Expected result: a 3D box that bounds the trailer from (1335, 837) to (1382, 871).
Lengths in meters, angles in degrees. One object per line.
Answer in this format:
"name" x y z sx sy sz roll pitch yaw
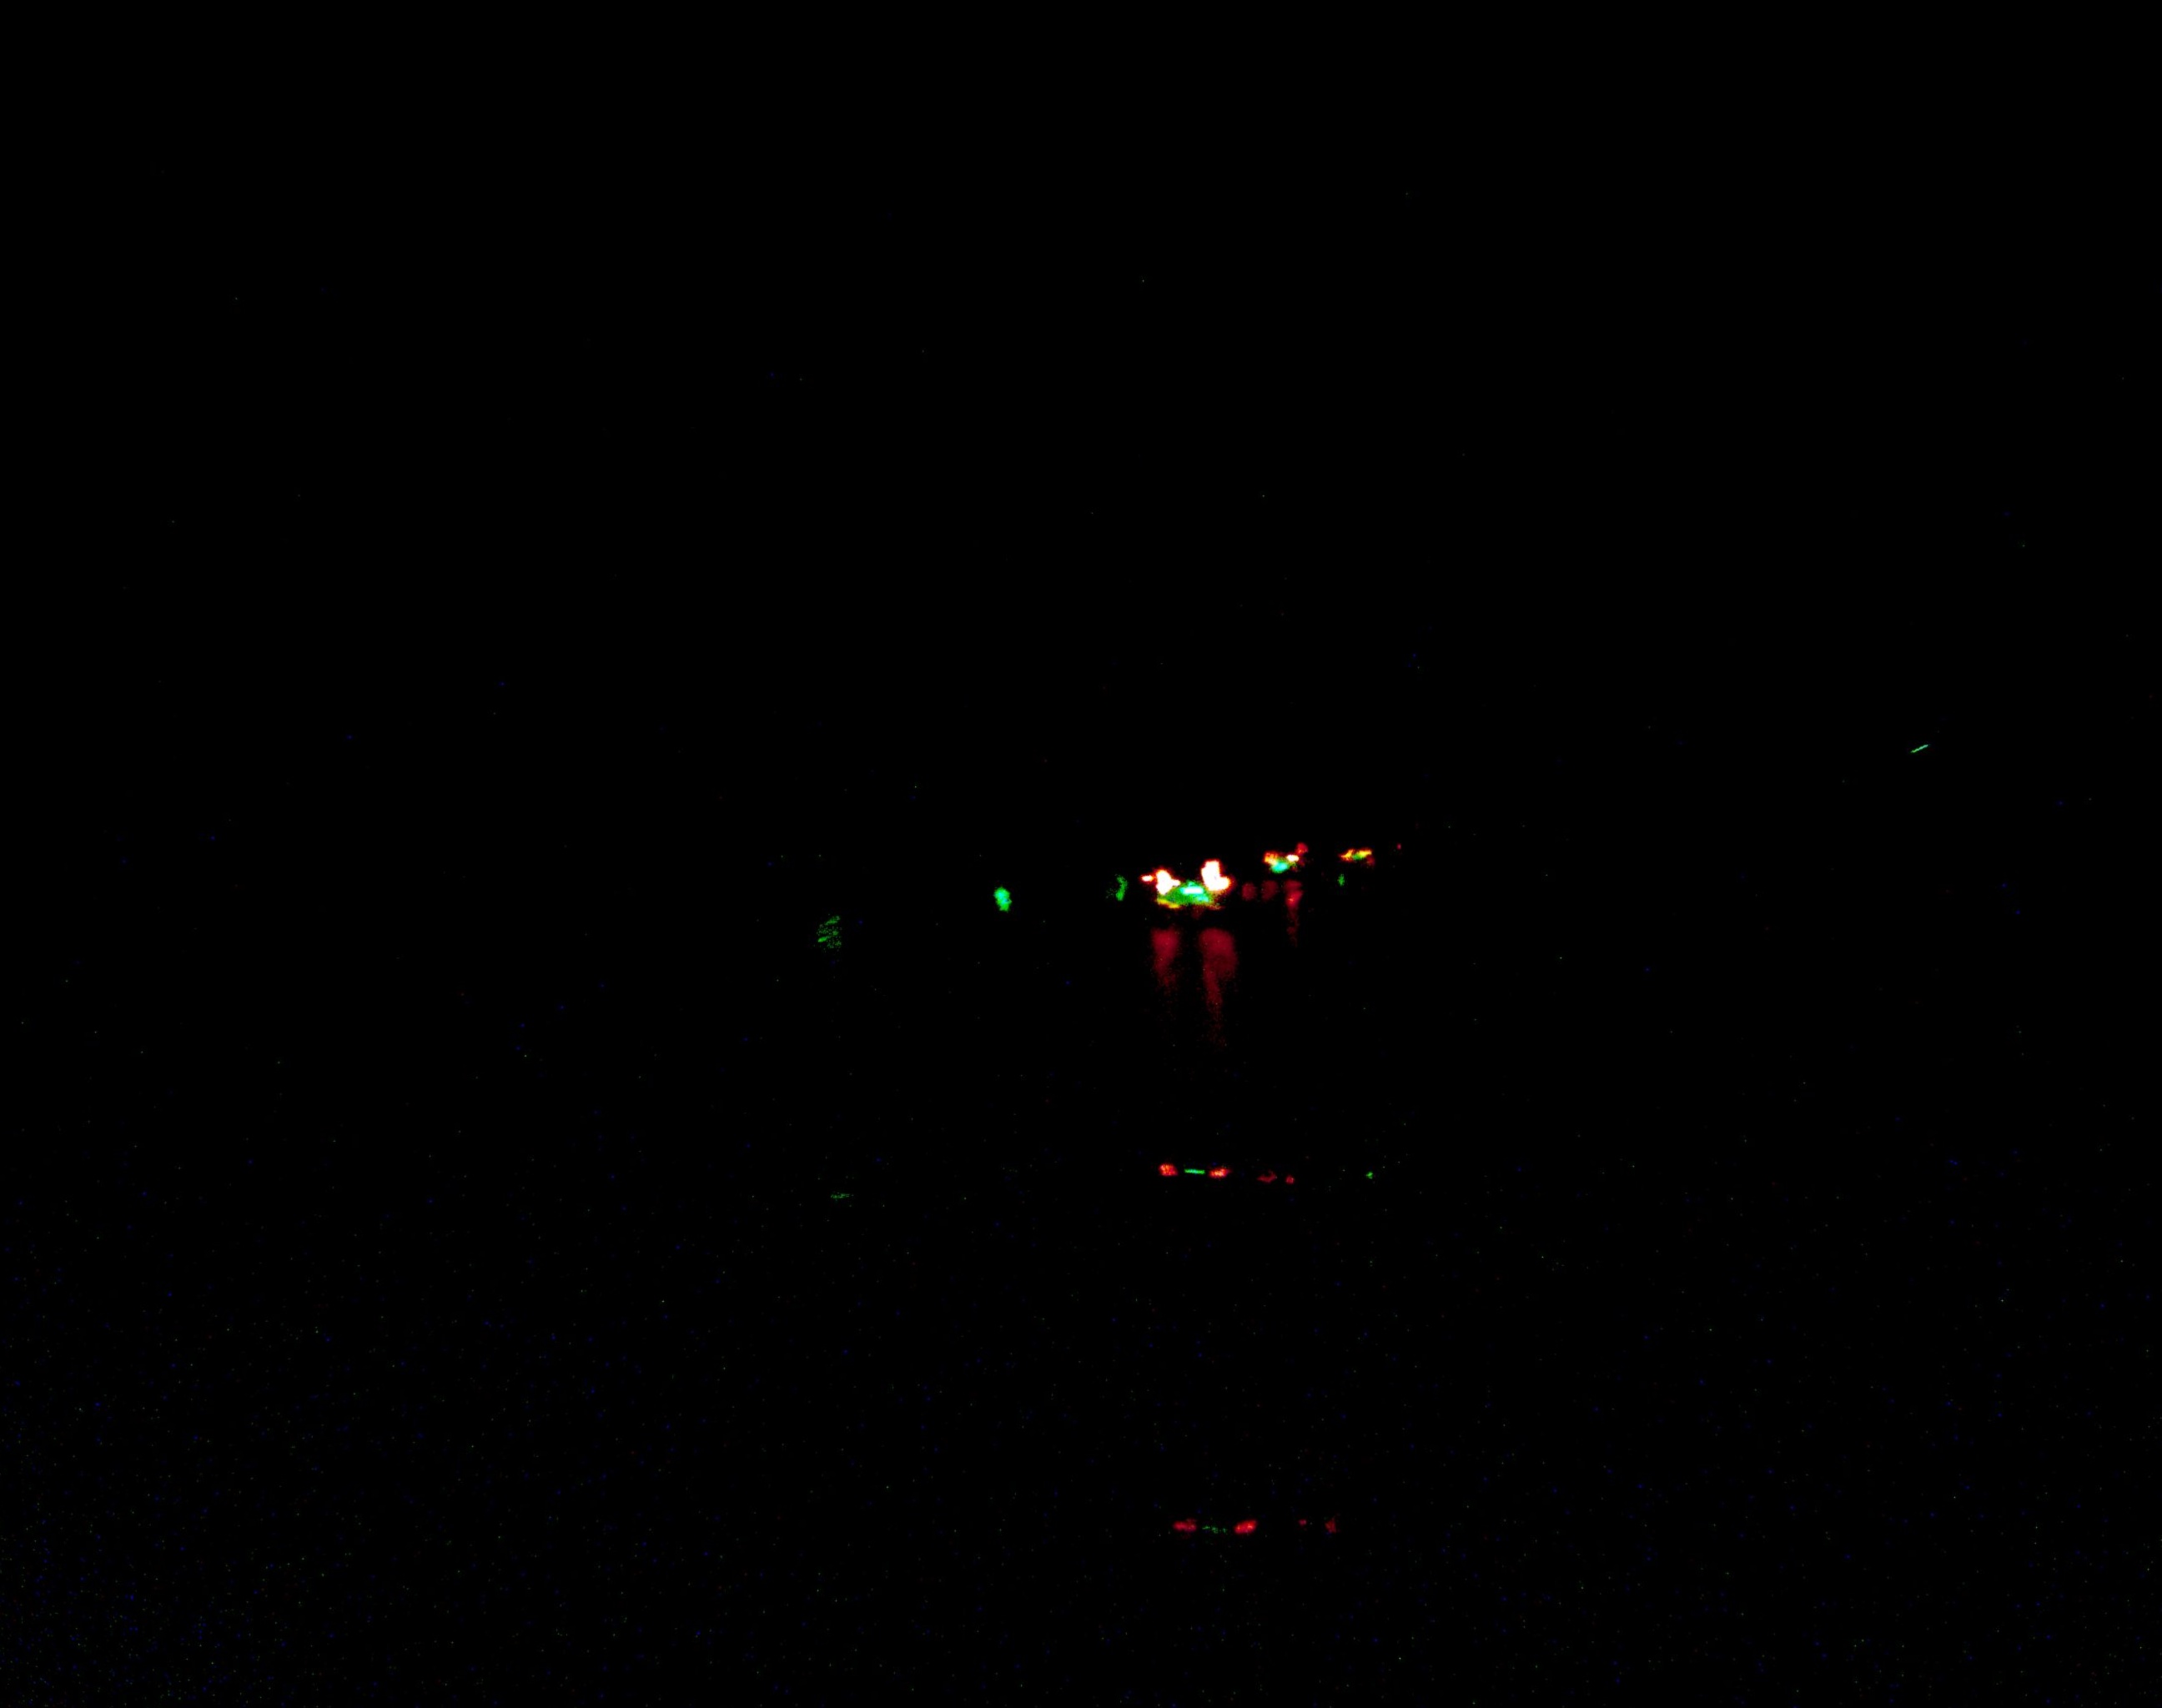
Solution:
"trailer" 19.545 0.071 57.004 2.059 2.014 10.706 -5 -3 23
